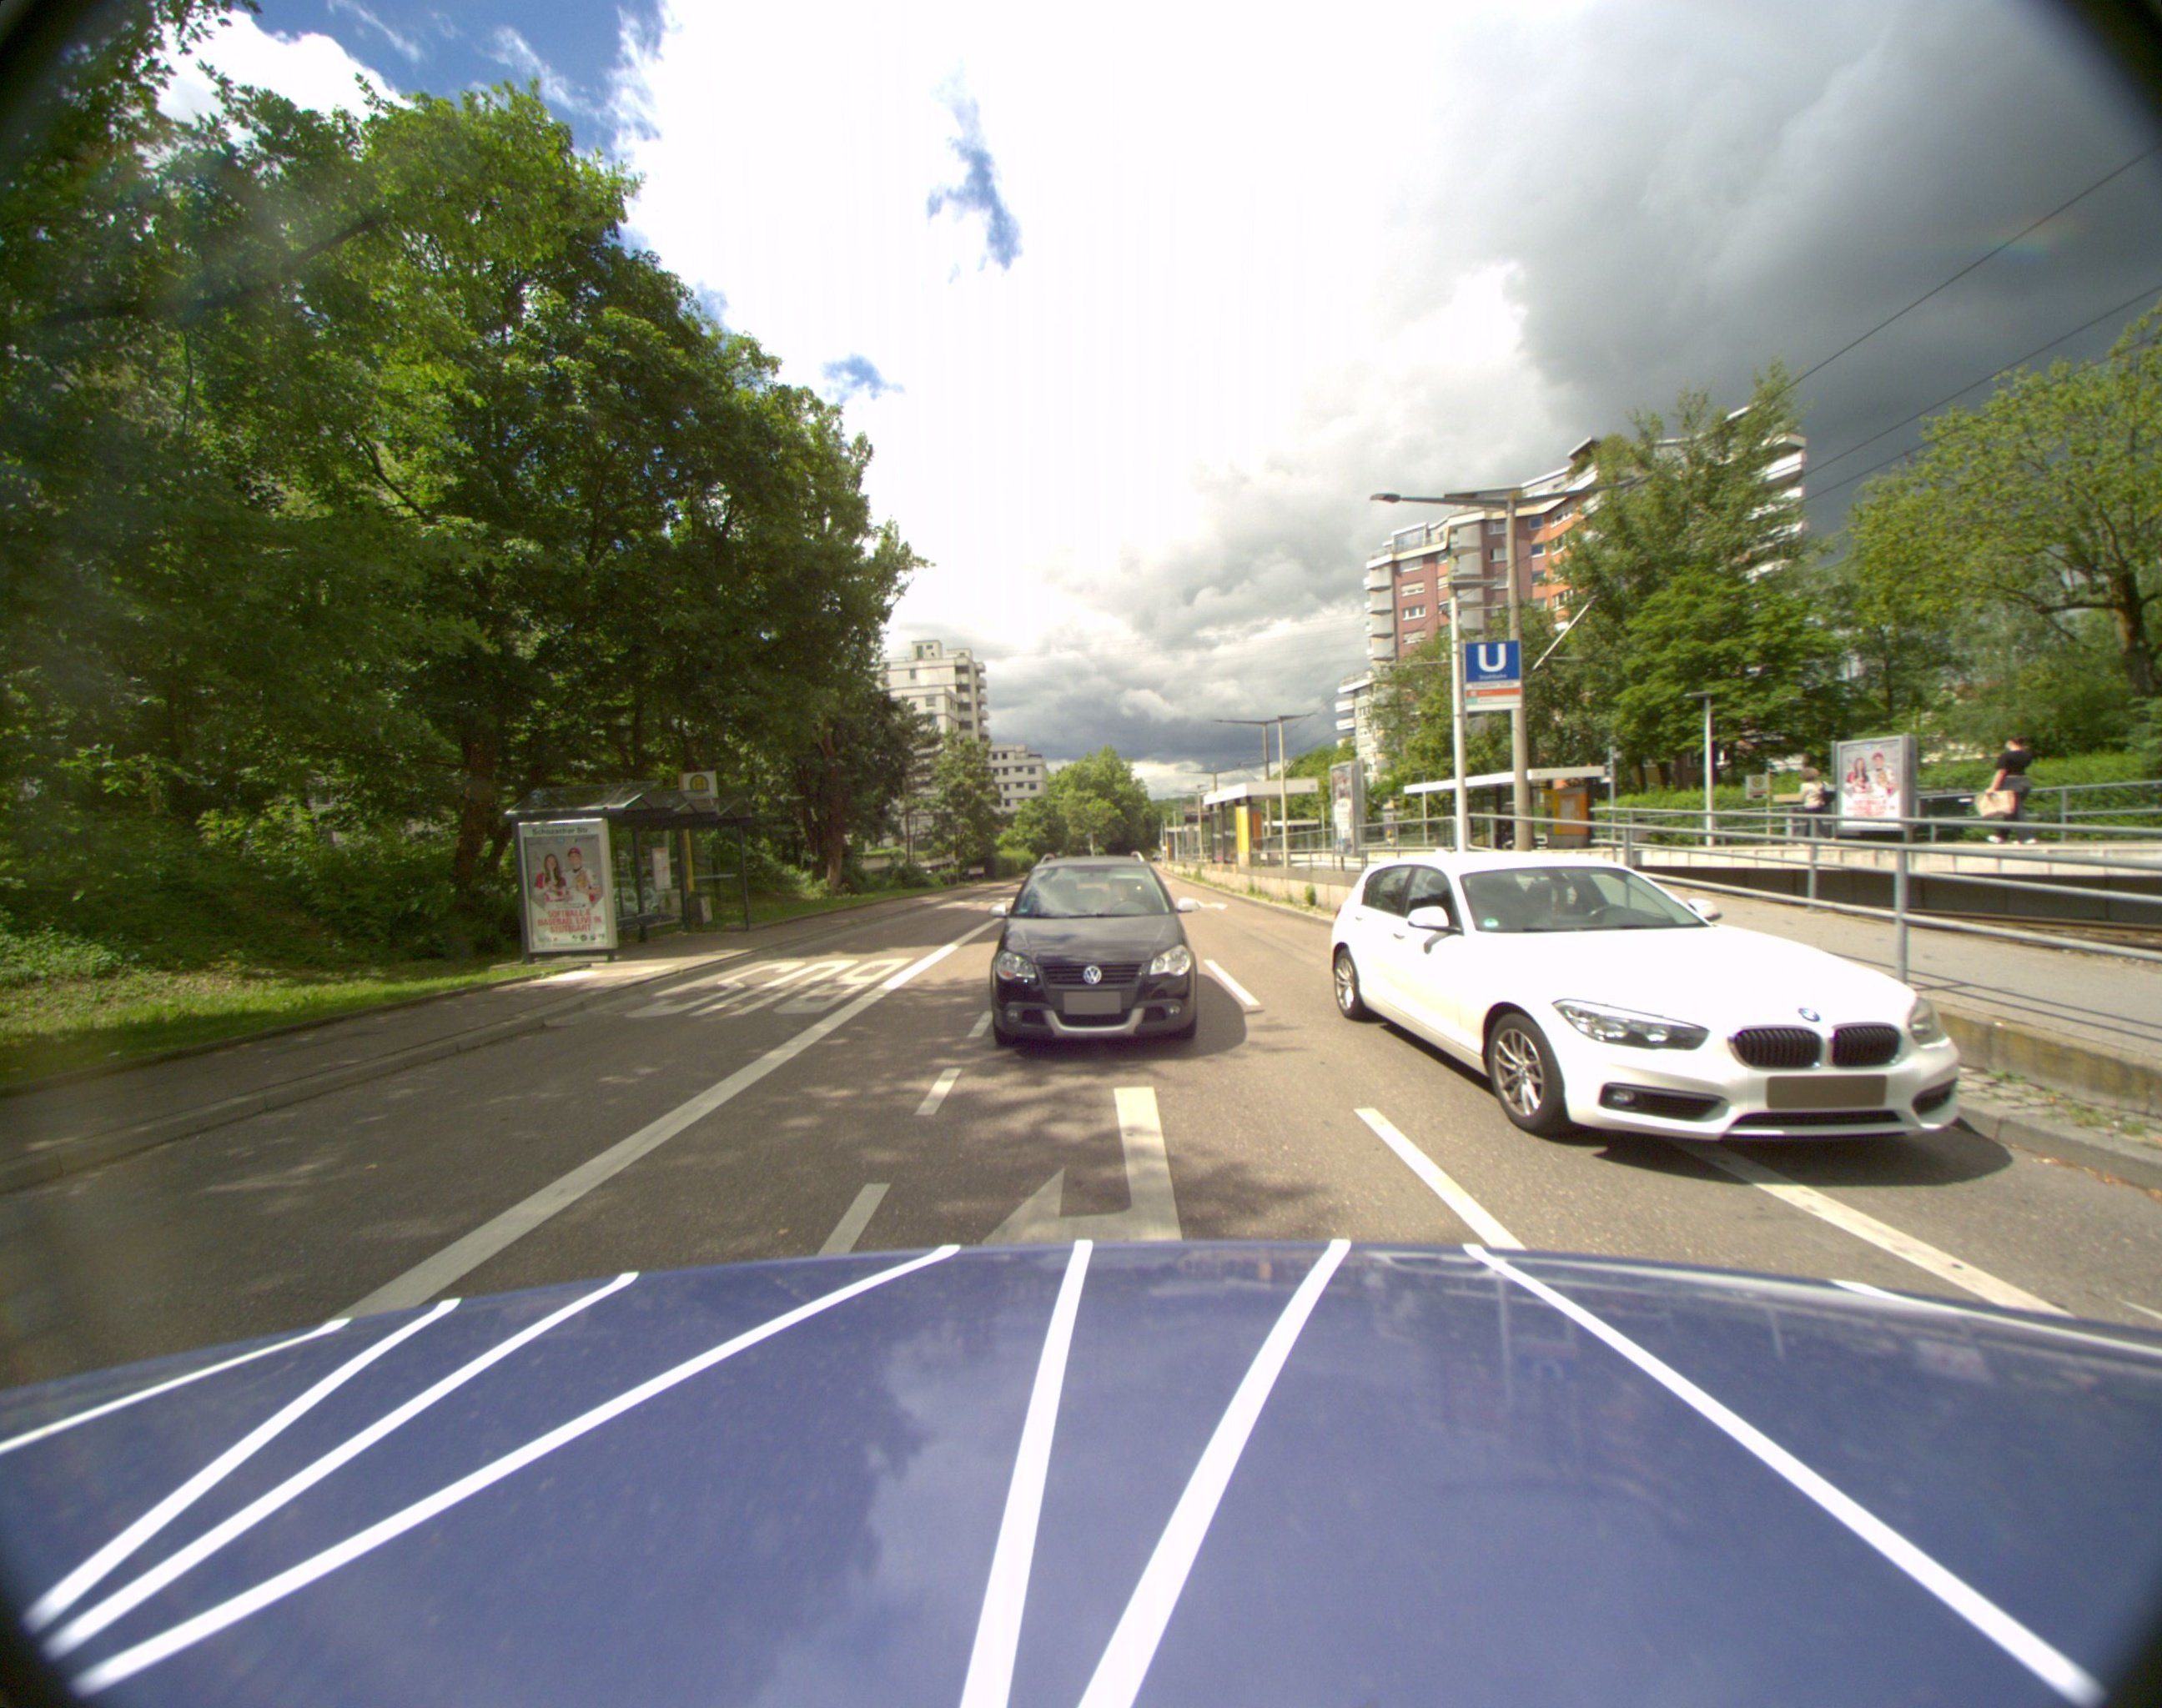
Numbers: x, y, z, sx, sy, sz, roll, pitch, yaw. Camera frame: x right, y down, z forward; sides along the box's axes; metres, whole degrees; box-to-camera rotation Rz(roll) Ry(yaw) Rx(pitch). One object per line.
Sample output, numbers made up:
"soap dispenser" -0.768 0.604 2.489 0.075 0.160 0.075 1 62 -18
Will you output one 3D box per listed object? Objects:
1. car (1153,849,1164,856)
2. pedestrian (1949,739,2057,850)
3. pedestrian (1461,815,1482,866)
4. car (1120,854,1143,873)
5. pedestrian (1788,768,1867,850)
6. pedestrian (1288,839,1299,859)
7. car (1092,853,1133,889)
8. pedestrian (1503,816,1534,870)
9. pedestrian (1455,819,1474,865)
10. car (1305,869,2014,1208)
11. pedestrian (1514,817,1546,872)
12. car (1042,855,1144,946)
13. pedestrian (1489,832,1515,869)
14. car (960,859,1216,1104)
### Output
"car" 14.233 -0.256 139.501 1.805 1.208 4.022 -2 1 4
"pedestrian" 15.265 -0.960 12.599 0.865 1.763 0.747 -2 1 0
"pedestrian" 16.609 -0.553 32.334 0.532 2.129 0.608 -2 1 4
"car" 4.208 0.747 63.356 1.845 1.409 4.001 -2 1 4
"pedestrian" 15.187 -0.895 15.473 0.865 1.597 0.747 -2 1 0
"pedestrian" 18.314 -0.424 65.591 0.774 1.696 0.766 -2 1 9
"car" 1.470 0.798 37.107 1.846 1.553 3.999 -2 1 1
"pedestrian" 16.408 -0.415 28.496 0.780 2.002 0.584 -2 1 1
"pedestrian" 16.632 -0.519 32.963 0.517 2.002 0.557 -2 1 1
"car" 3.095 0.840 5.384 1.794 1.442 4.277 0 -1 1
"pedestrian" 16.266 -0.345 27.514 0.771 1.921 0.573 -2 1 -1
"car" 0.207 0.852 15.954 1.819 1.483 3.998 -2 2 0
"pedestrian" 16.479 -0.129 29.742 0.645 1.407 0.658 -2 1 1
"car" 0.065 0.881 7.054 1.681 1.529 3.793 -2 1 0
